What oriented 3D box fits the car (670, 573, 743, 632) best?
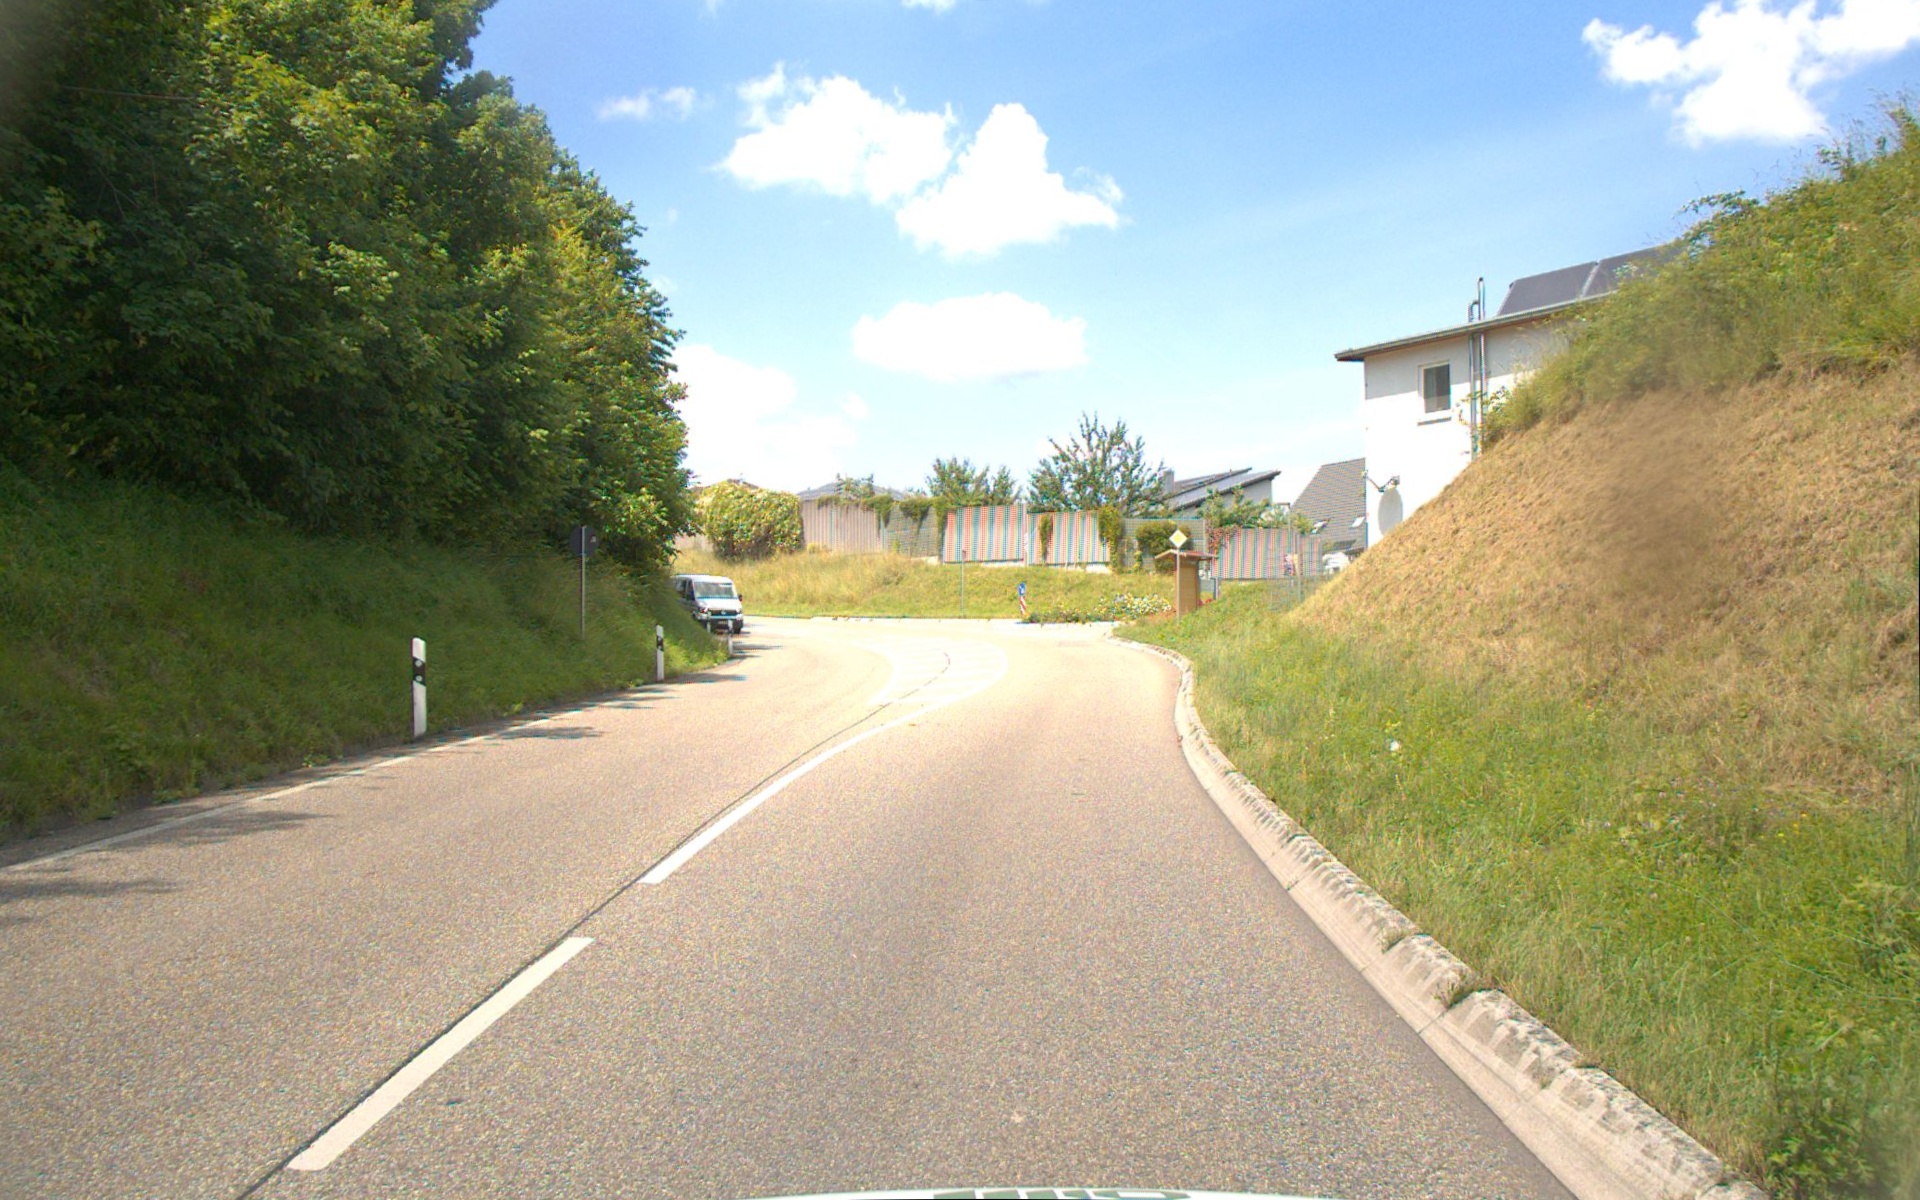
[{"bbox_3d":[-10.688,0.124,69.438,2.054,2.330,5.914,-1,0,-19],"label":"car"}]
